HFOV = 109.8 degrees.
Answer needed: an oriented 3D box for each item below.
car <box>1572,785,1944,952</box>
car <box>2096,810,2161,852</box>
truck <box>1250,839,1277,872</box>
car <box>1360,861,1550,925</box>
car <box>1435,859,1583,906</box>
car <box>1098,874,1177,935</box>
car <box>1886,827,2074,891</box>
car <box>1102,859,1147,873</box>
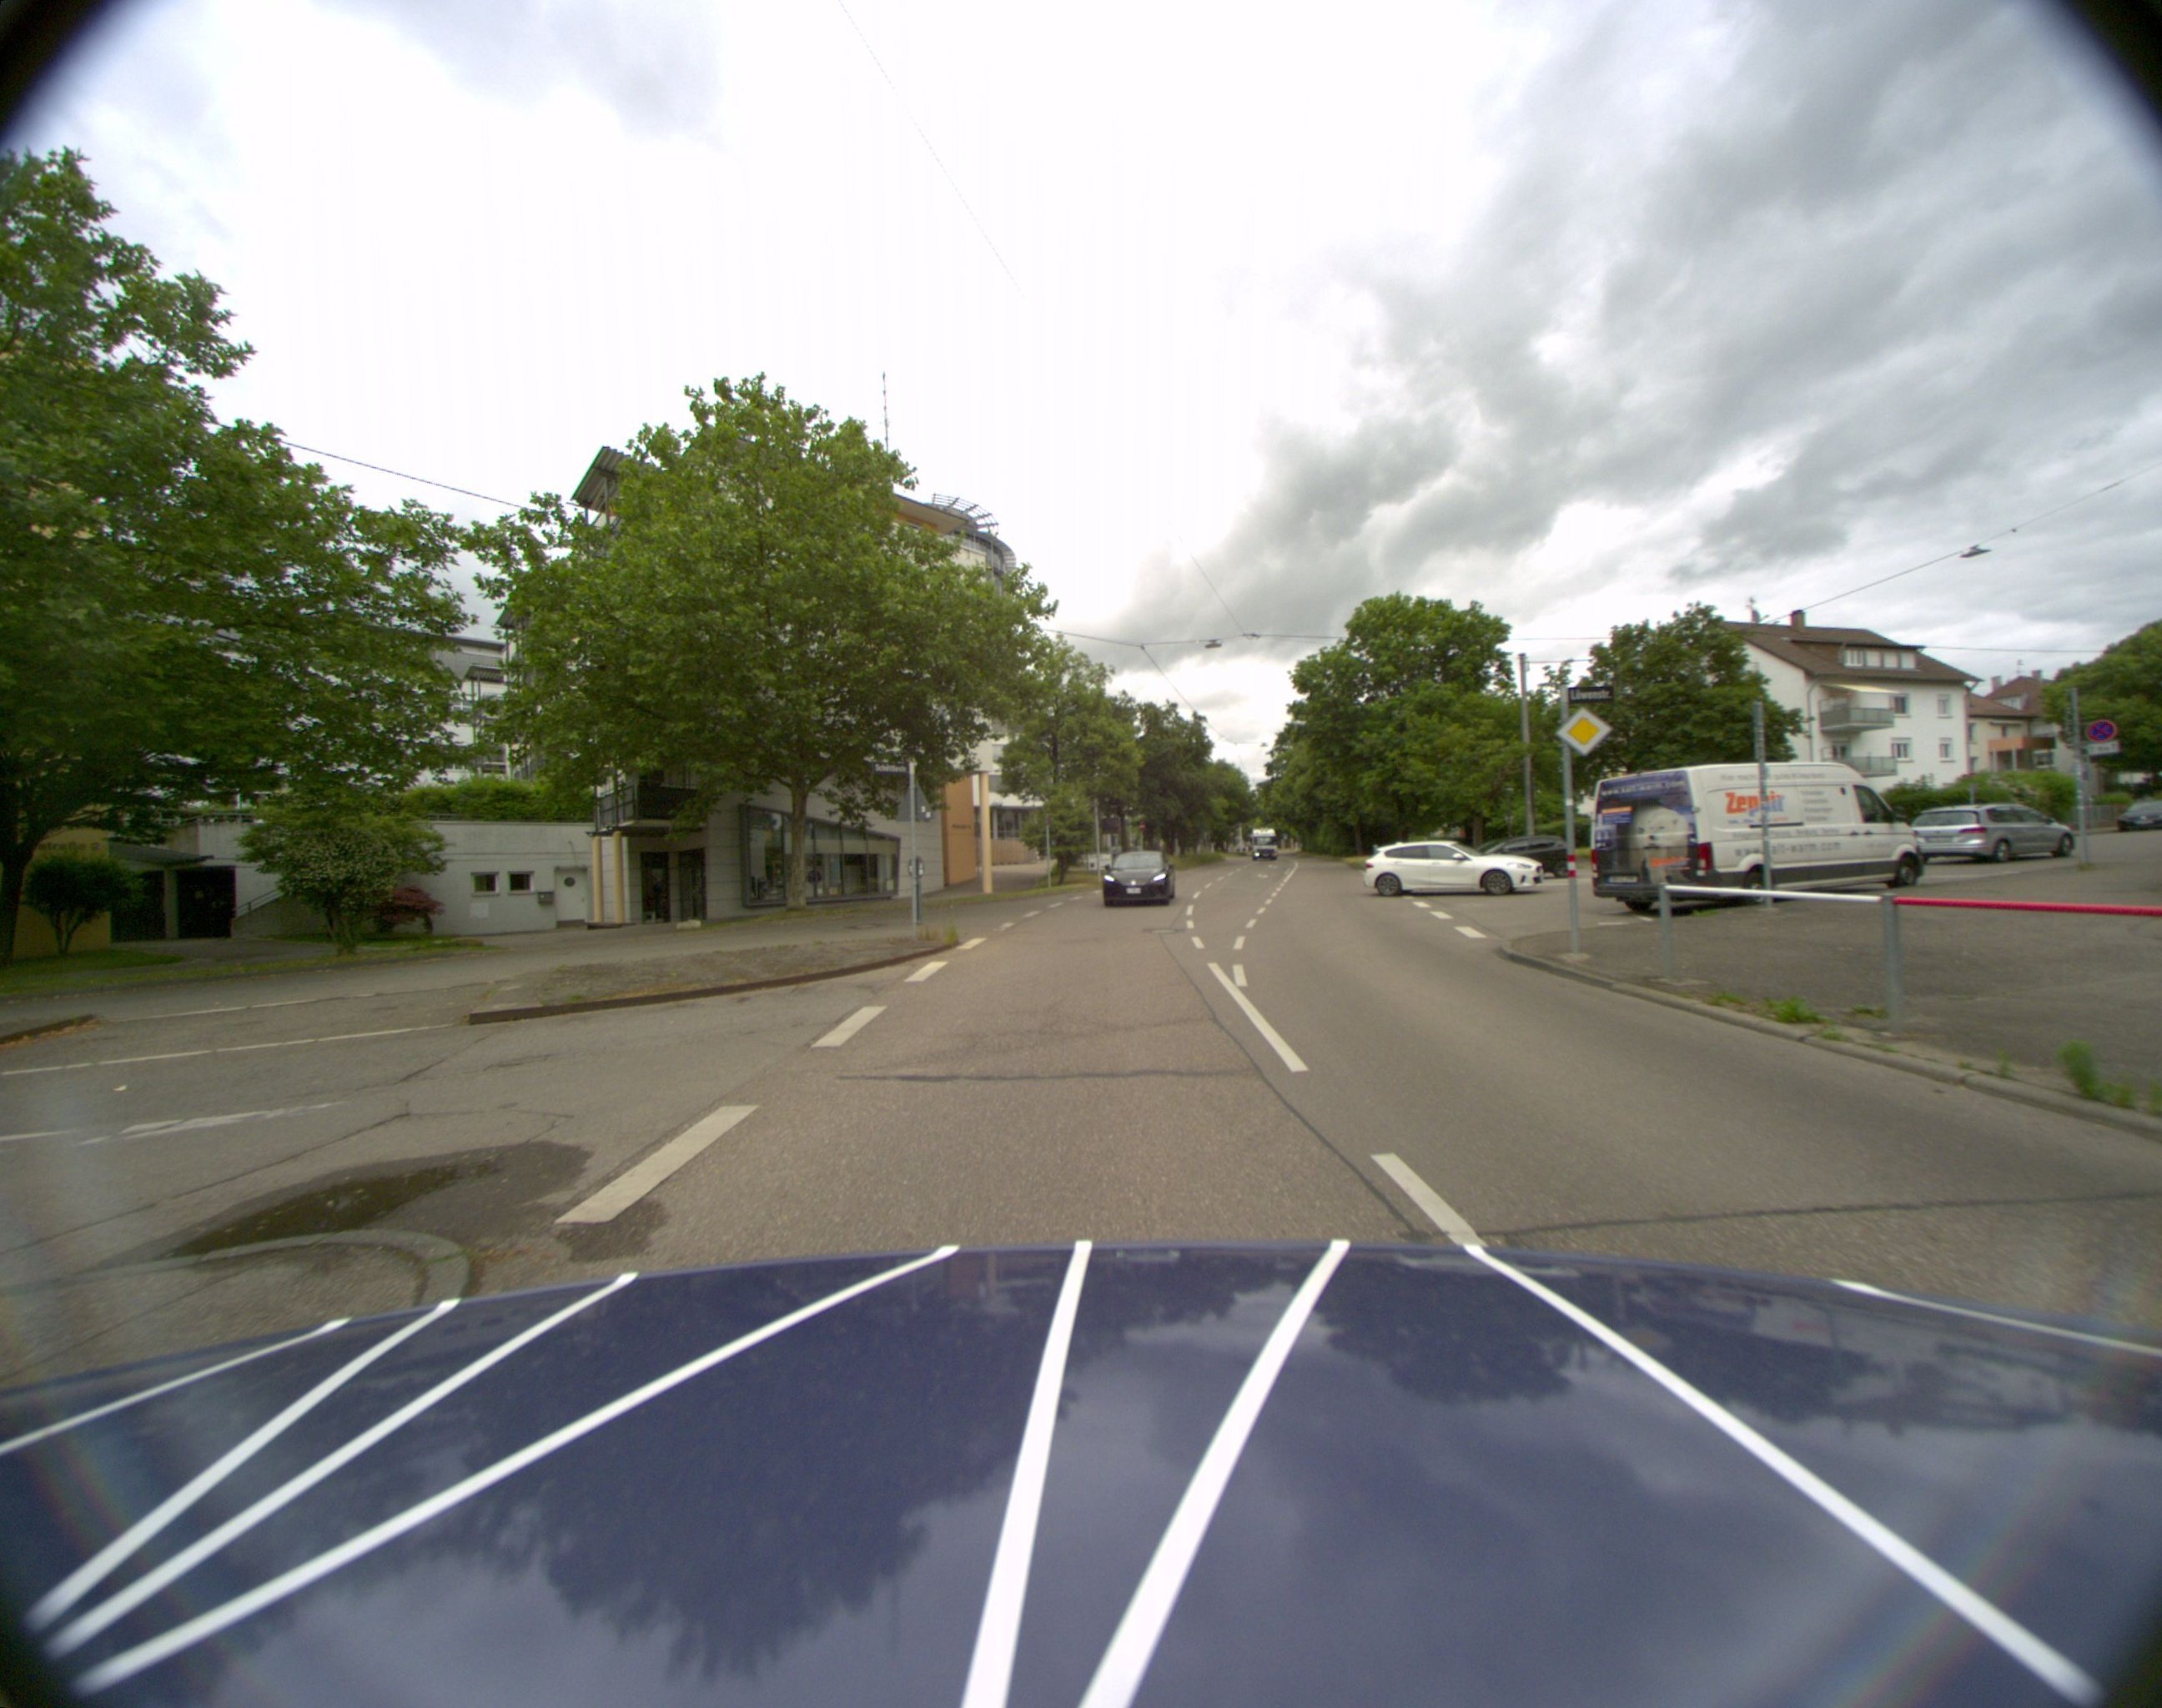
[{"bbox_3d":[12.609,0.157,14.064,6.987,2.506,2.082,-3,-1,-21],"label":"car"},{"bbox_3d":[50.568,-1.142,36.134,4.004,1.739,1.779,-4,-2,-24],"label":"car"},{"bbox_3d":[18.417,0.149,76.612,2.433,3.176,6.473,-2,0,13],"label":"truck"},{"bbox_3d":[9.967,1.040,20.443,4.196,1.508,1.805,-3,0,42],"label":"car"},{"bbox_3d":[14.485,0.971,25.873,3.995,1.328,1.645,-3,-1,6],"label":"car"},{"bbox_3d":[1.726,1.388,22.056,1.798,1.475,4.023,-1,0,11],"label":"car"},{"bbox_3d":[24.831,0.136,21.009,4.003,1.564,1.927,-2,-1,-18],"label":"car"},{"bbox_3d":[4.817,1.314,84.223,4.749,1.508,1.867,-1,0,-28],"label":"car"}]
